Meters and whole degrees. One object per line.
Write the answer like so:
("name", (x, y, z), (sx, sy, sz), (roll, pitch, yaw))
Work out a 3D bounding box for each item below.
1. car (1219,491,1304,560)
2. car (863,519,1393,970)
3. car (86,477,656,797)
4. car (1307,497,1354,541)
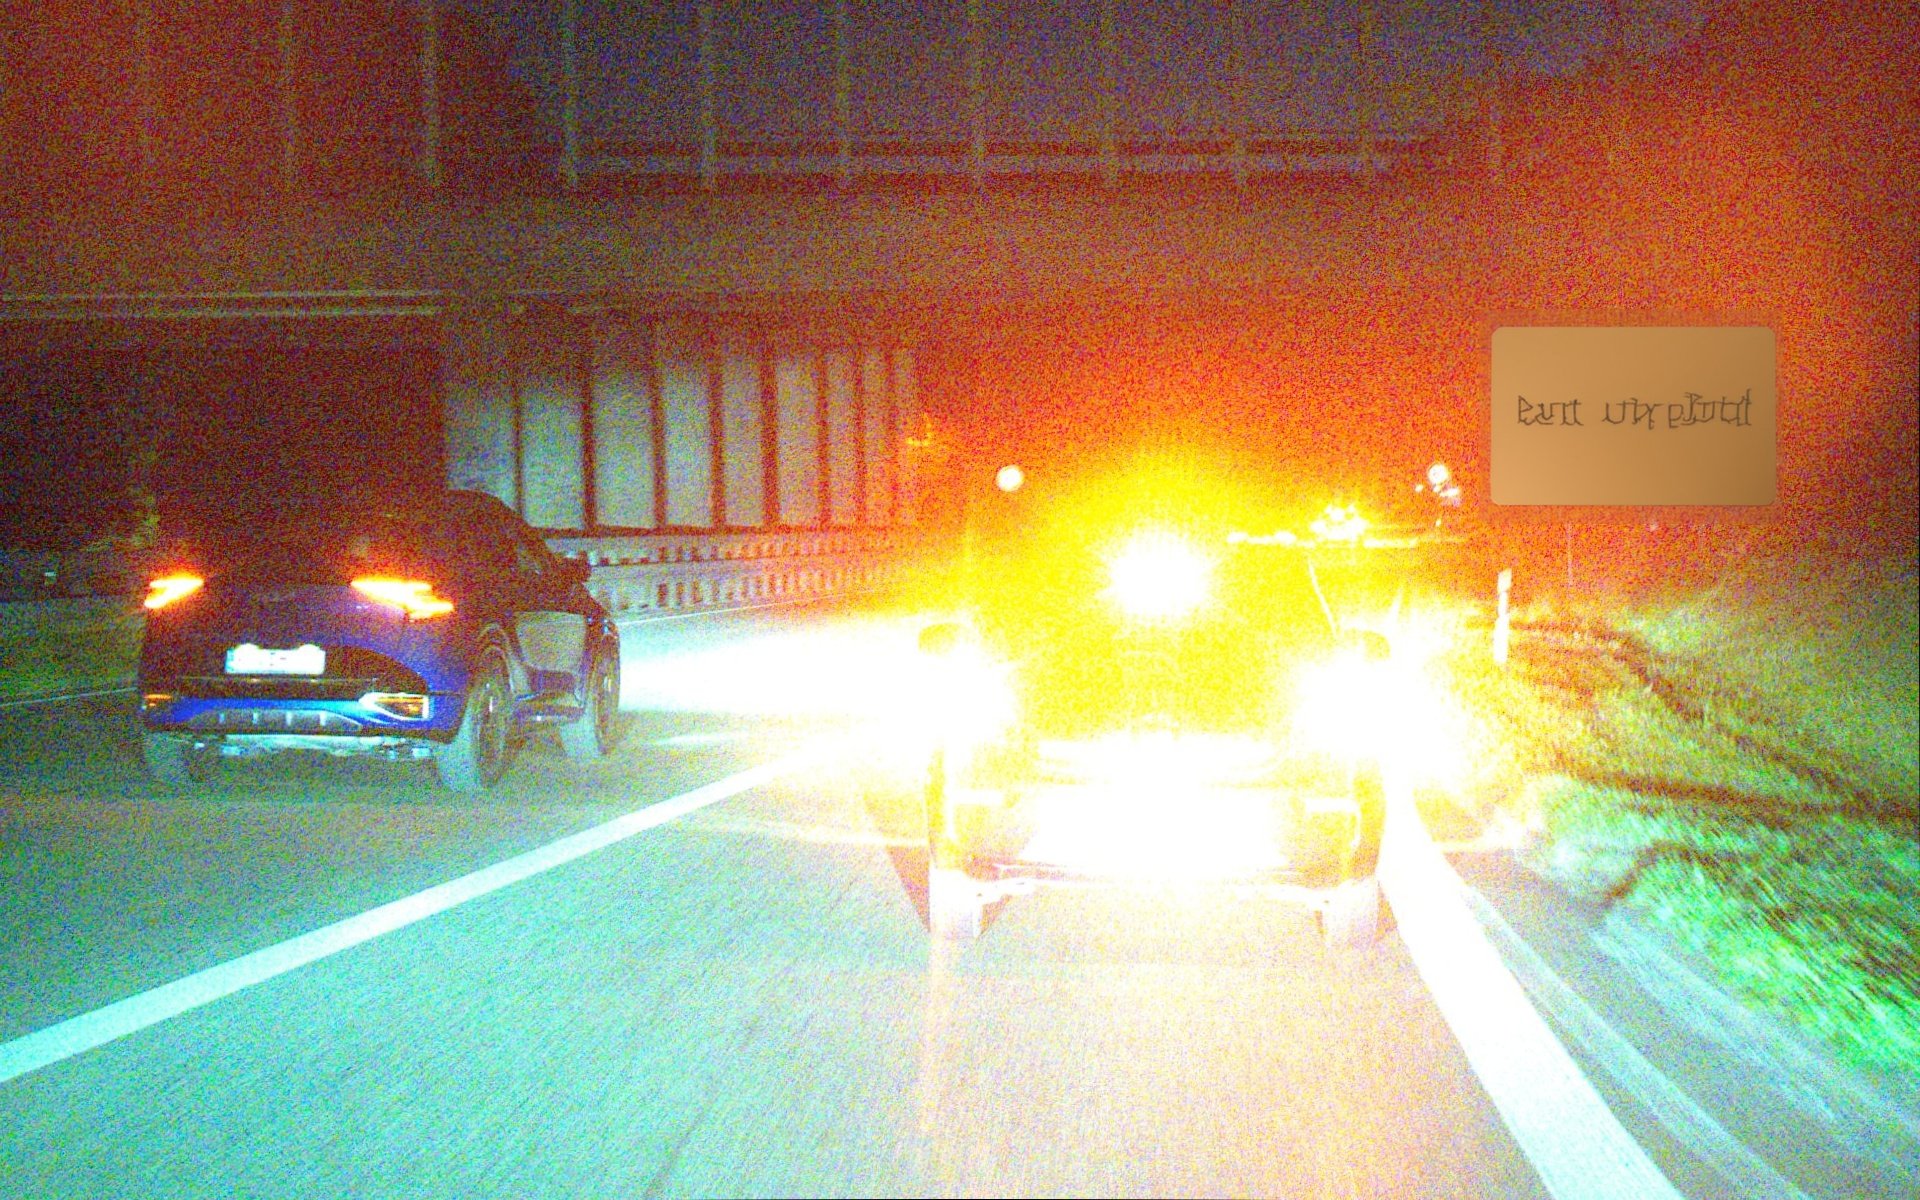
("car", (7.772, -1.892, 88.330), (1.952, 1.533, 4.240), (-5, 0, 7))
("car", (0.507, 0.440, 13.508), (1.691, 1.472, 4.001), (1, 1, -2))
("car", (-3.230, 0.134, 19.896), (1.941, 1.603, 4.642), (1, 1, 8))
("car", (13.946, -3.058, 129.364), (1.734, 1.612, 3.798), (0, 2, 7))
